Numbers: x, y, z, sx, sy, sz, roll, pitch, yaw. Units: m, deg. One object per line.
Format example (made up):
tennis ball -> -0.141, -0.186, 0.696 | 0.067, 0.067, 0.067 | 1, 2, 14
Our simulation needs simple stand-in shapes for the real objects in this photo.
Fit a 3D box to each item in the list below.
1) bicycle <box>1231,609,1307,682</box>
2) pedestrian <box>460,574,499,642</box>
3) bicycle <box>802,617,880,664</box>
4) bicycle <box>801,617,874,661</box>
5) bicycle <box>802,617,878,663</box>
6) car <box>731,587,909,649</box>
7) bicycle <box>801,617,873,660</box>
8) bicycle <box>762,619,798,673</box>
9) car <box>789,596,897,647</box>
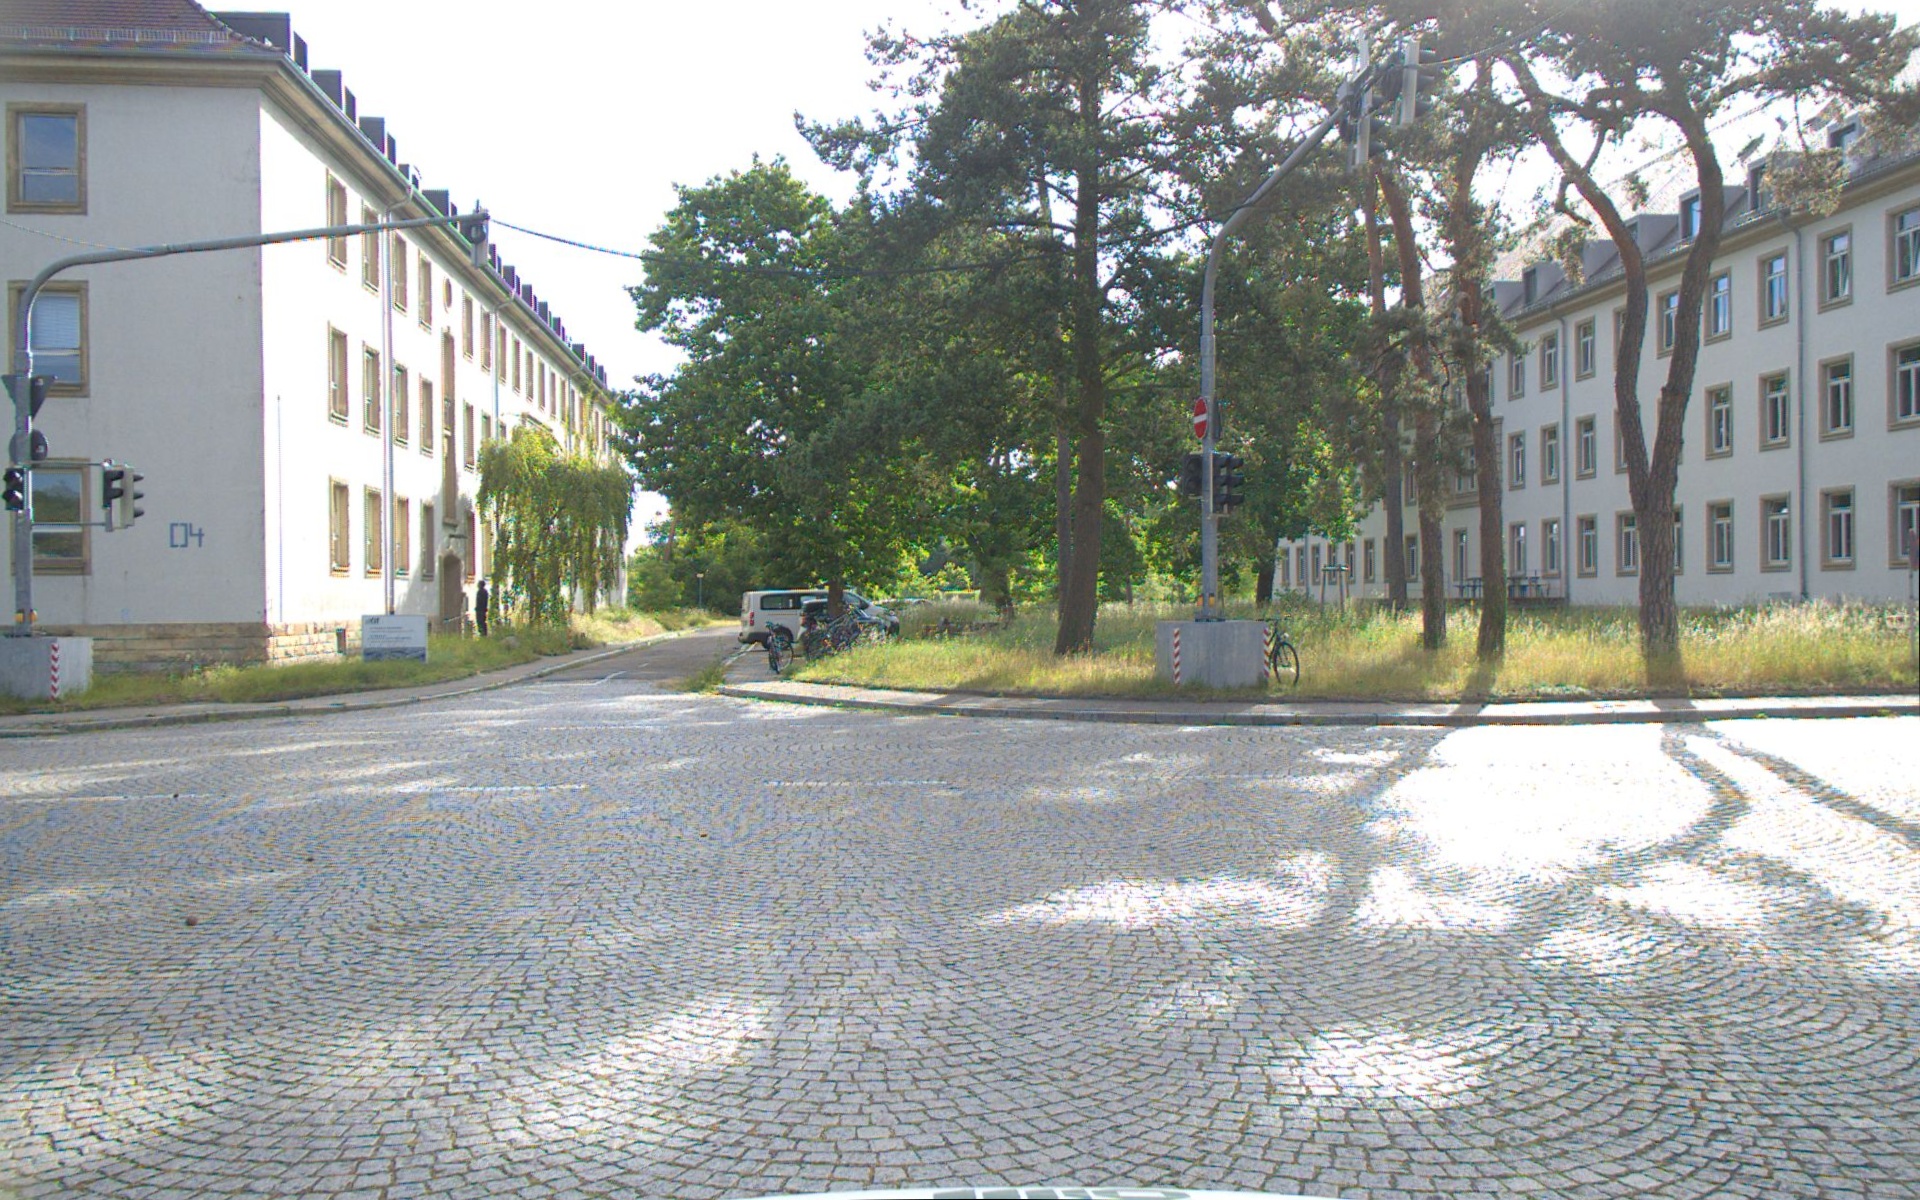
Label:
bicycle -> 4.618, 0.665, 24.804 | 0.552, 1.016, 1.748 | -1, 1, -10
pedestrian -> -14.376, 0.236, 49.464 | 0.966, 1.998, 0.931 | 0, -1, -6
bicycle -> -2.757, 0.933, 38.266 | 1.759, 1.016, 0.643 | -1, 1, -7
bicycle -> -3.034, 0.957, 40.769 | 1.759, 1.016, 0.643 | -1, 1, -7
bicycle -> -2.856, 0.944, 39.281 | 1.759, 1.016, 0.643 | -1, 1, -7
car -> -4.588, 0.566, 54.081 | 5.419, 1.949, 2.241 | 0, -1, -20
bicycle -> -3.099, 0.962, 41.504 | 1.759, 1.016, 0.643 | -1, 1, -7
bicycle -> -3.751, 0.946, 34.557 | 0.714, 1.016, 1.797 | -1, 1, -6
car -> -3.593, 0.658, 50.603 | 2.986, 1.491, 1.711 | 0, -1, -19
